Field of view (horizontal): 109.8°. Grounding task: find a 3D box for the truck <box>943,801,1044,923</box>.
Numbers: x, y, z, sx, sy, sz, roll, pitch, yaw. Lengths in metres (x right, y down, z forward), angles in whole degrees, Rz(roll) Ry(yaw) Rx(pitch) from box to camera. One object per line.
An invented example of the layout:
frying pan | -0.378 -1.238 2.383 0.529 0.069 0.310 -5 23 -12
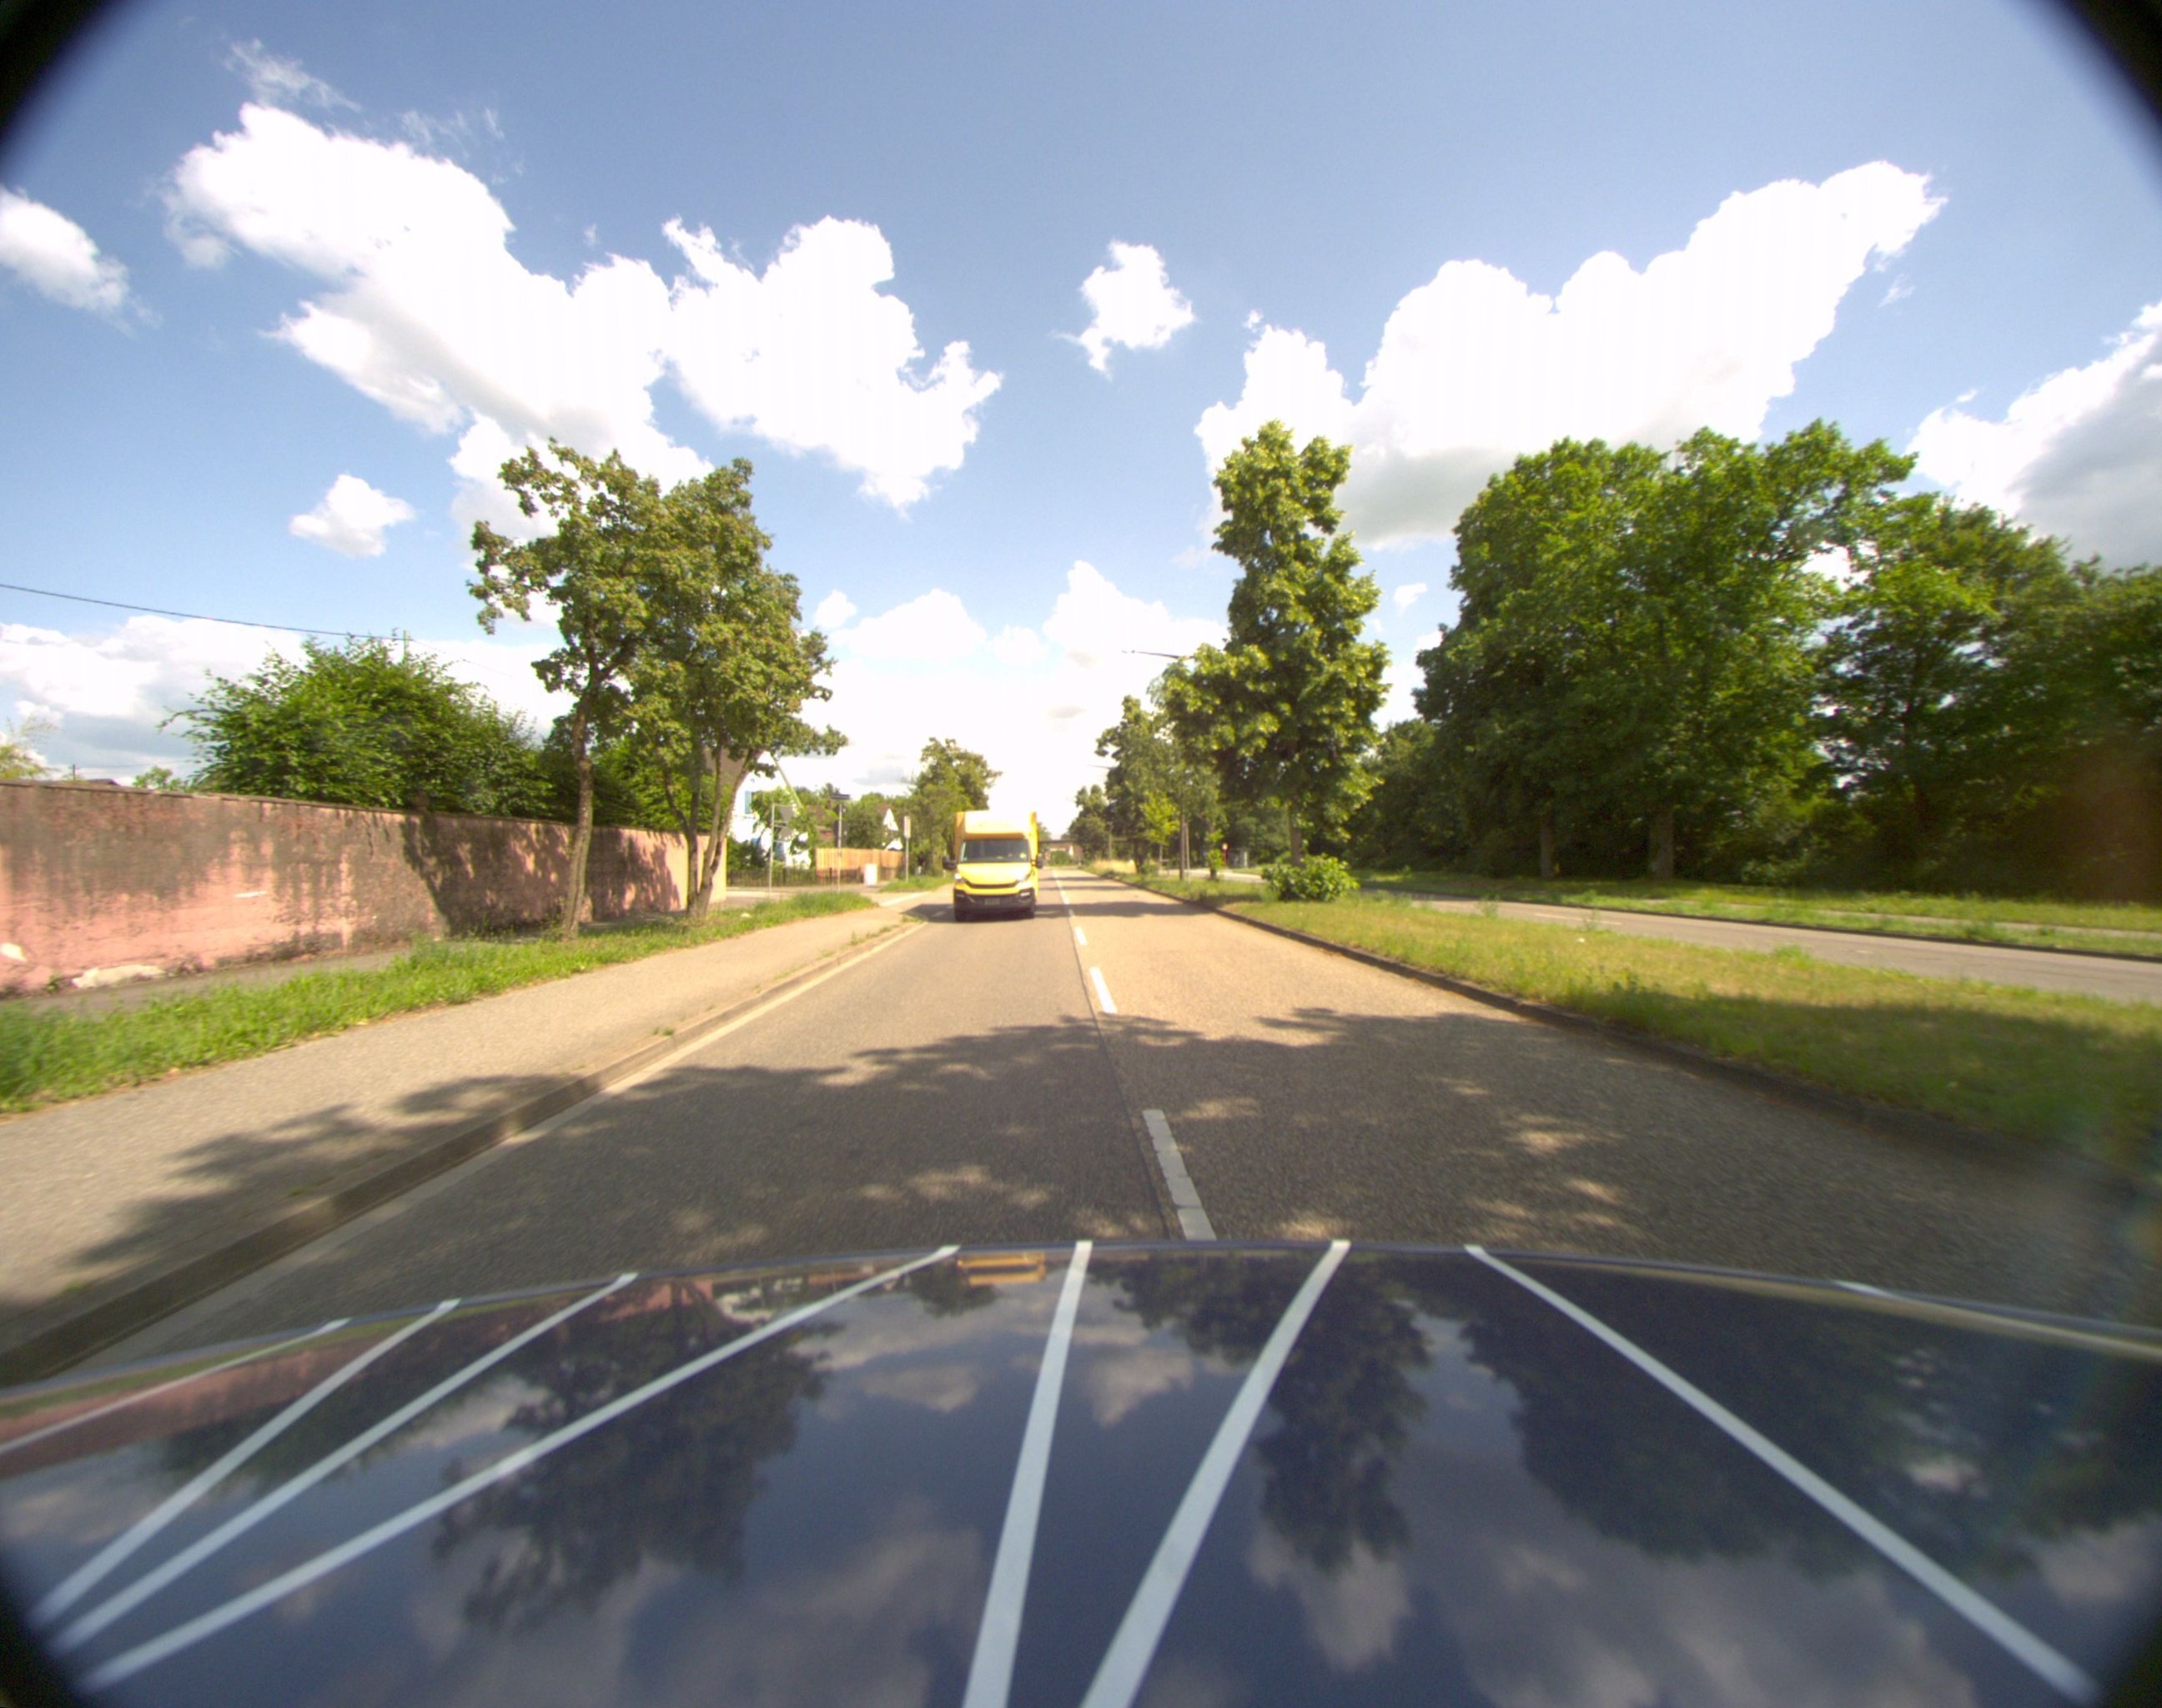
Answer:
truck | -2.289 0.245 22.125 2.271 2.863 8.027 -2 -1 -3

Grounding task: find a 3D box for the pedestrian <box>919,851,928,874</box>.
pedestrian | -11.532 0.585 55.658 0.561 1.667 0.634 -1 0 -2
